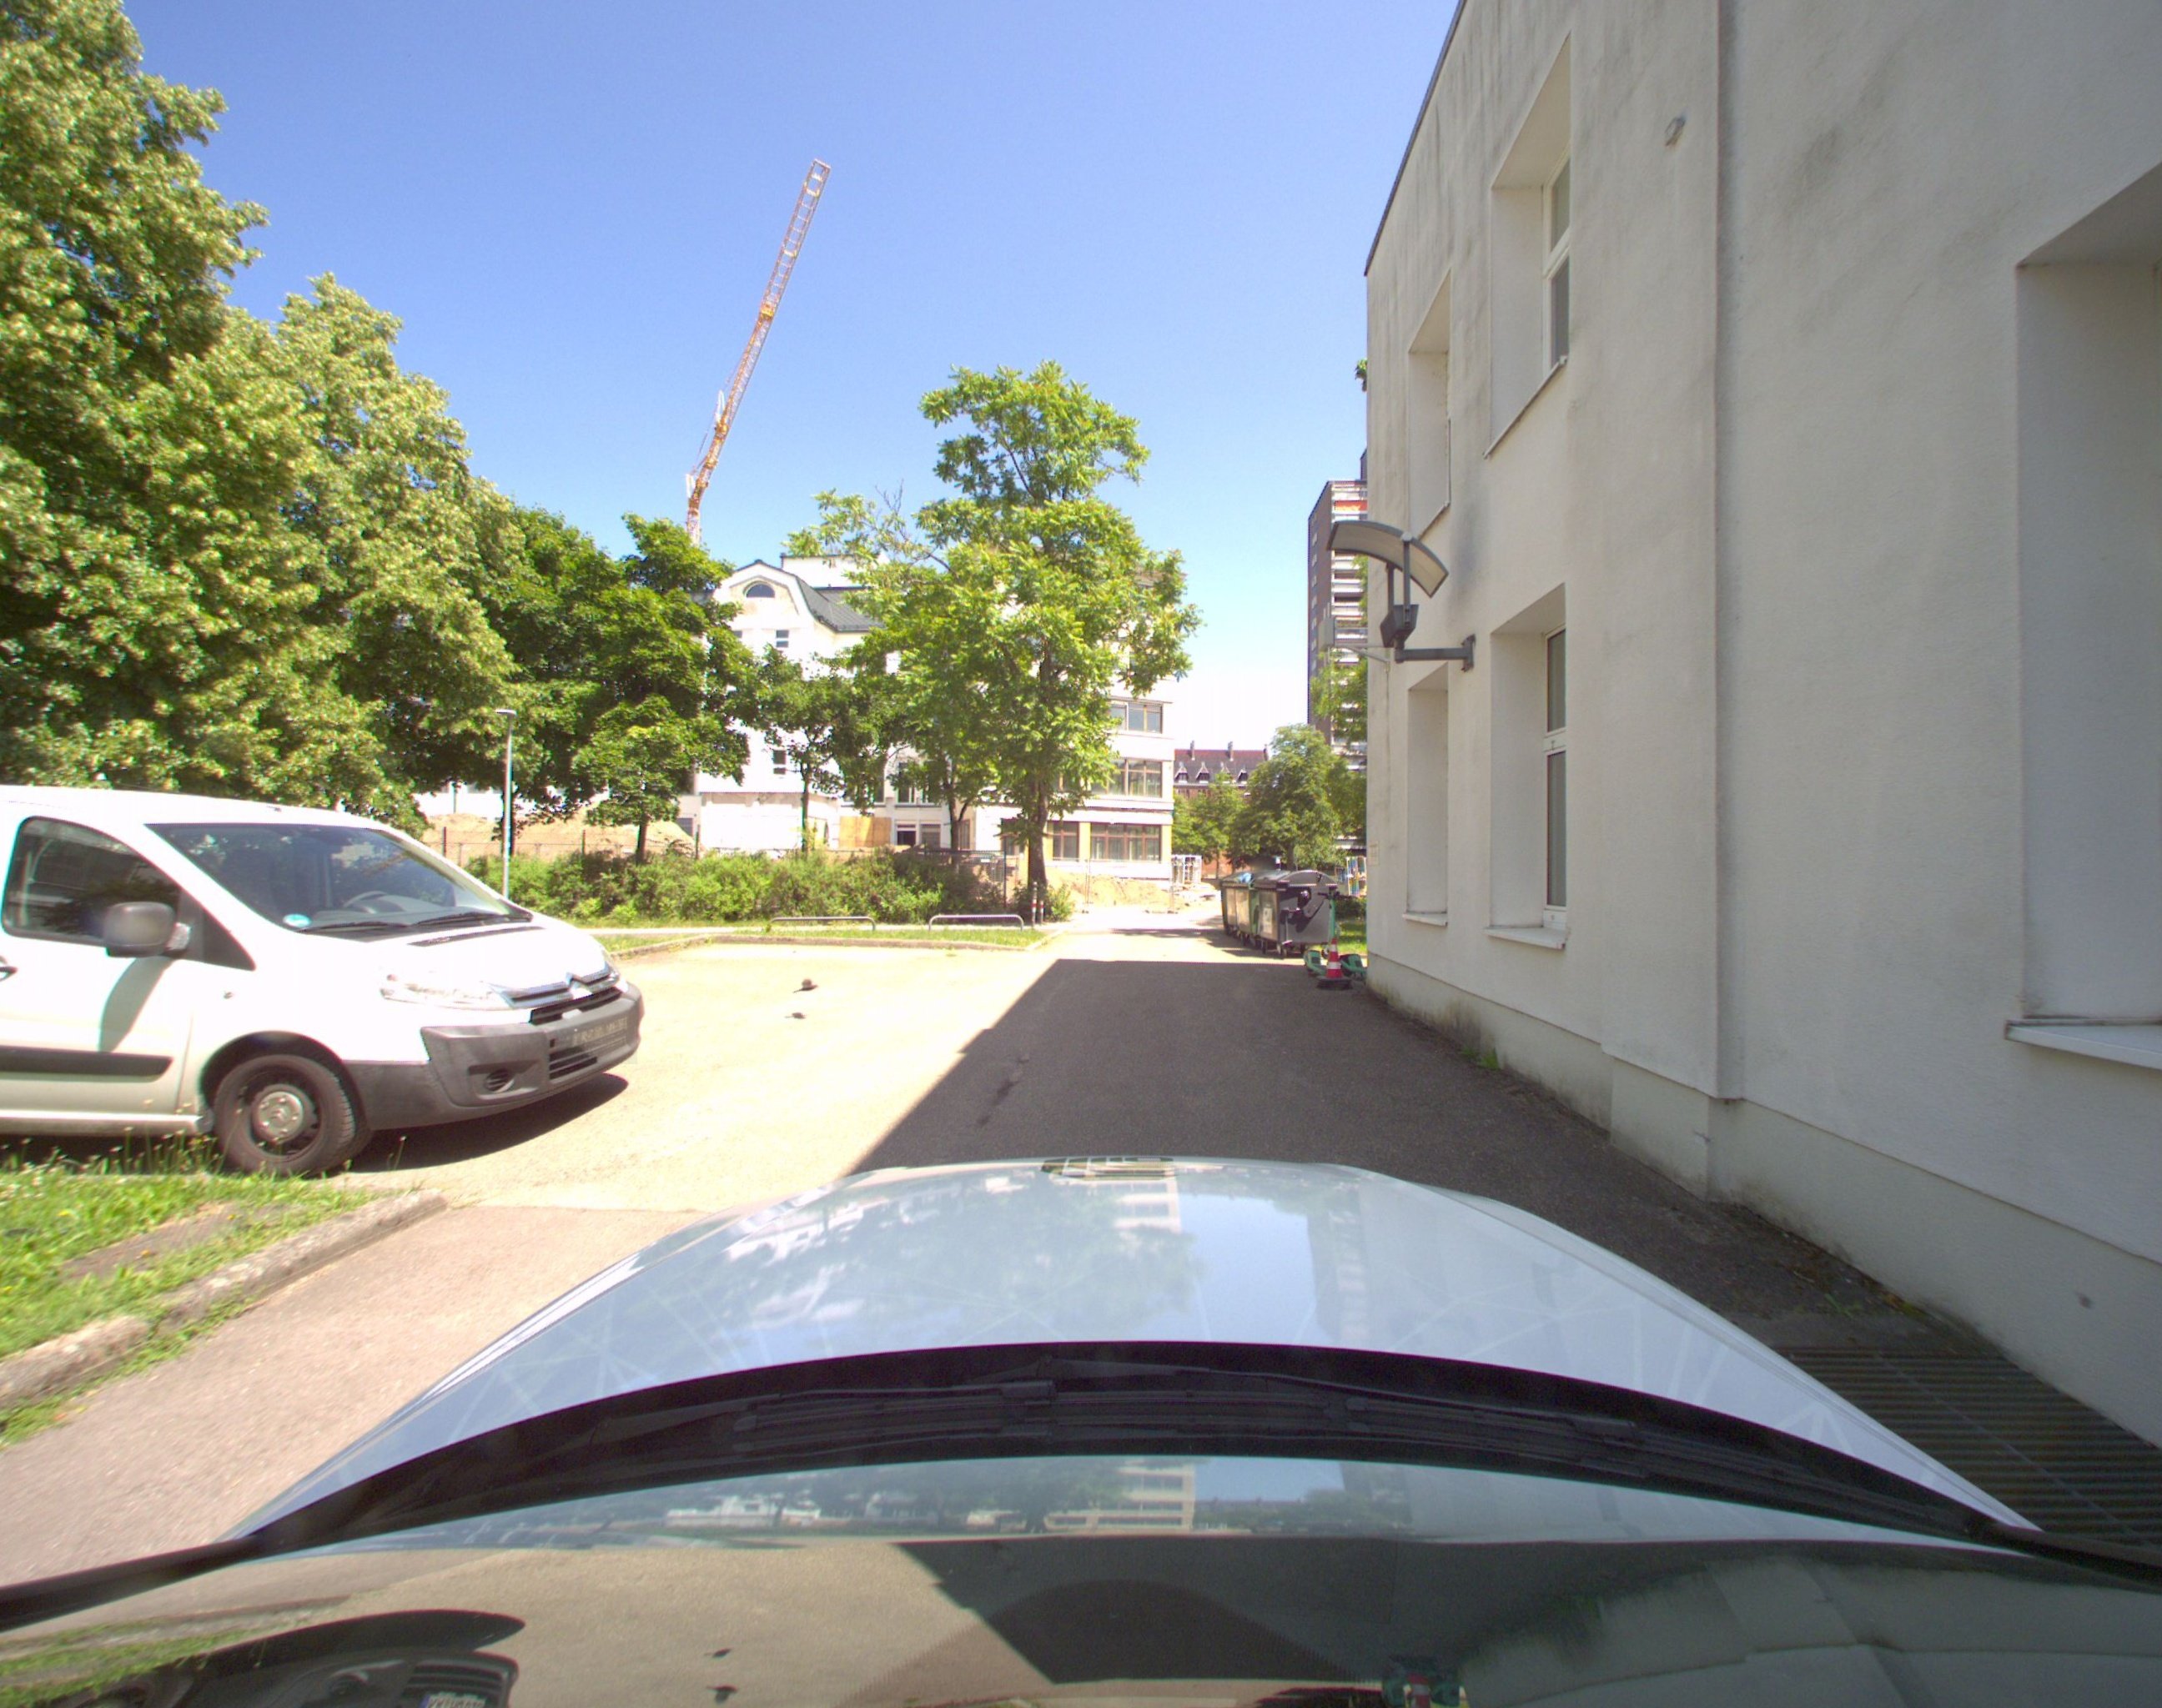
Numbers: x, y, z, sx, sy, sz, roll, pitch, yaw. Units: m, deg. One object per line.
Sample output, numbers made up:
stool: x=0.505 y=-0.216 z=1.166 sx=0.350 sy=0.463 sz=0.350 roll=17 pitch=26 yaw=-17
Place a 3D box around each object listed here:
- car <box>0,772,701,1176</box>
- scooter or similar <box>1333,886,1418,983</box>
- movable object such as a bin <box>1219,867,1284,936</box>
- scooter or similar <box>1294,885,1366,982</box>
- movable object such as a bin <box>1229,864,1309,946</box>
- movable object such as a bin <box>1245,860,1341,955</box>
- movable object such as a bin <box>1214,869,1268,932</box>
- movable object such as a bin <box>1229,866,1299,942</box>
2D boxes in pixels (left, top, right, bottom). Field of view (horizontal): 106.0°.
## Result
car: x=-5.145 y=0.573 z=4.863 sx=4.773 sy=1.911 sz=1.999 roll=0 pitch=-1 yaw=-1
scooter or similar: x=3.844 y=1.026 z=10.714 sx=0.464 sy=1.174 sz=1.250 roll=1 pitch=-2 yaw=-12
movable object such as a bin: x=3.800 y=1.050 z=18.268 sx=1.175 sy=1.470 sz=1.311 roll=1 pitch=-2 yaw=-1
scooter or similar: x=3.240 y=1.000 z=10.709 sx=0.462 sy=1.174 sz=1.355 roll=1 pitch=-2 yaw=-4
movable object such as a bin: x=3.535 y=0.956 z=15.452 sx=1.175 sy=1.470 sz=1.310 roll=1 pitch=-2 yaw=-2
movable object such as a bin: x=3.537 y=0.882 z=13.713 sx=1.153 sy=1.505 sz=1.460 roll=1 pitch=-2 yaw=-4
movable object such as a bin: x=3.912 y=1.111 z=19.804 sx=1.170 sy=1.470 sz=1.338 roll=0 pitch=-2 yaw=16
movable object such as a bin: x=3.752 y=1.015 z=16.825 sx=1.175 sy=1.470 sz=1.311 roll=1 pitch=-2 yaw=1
